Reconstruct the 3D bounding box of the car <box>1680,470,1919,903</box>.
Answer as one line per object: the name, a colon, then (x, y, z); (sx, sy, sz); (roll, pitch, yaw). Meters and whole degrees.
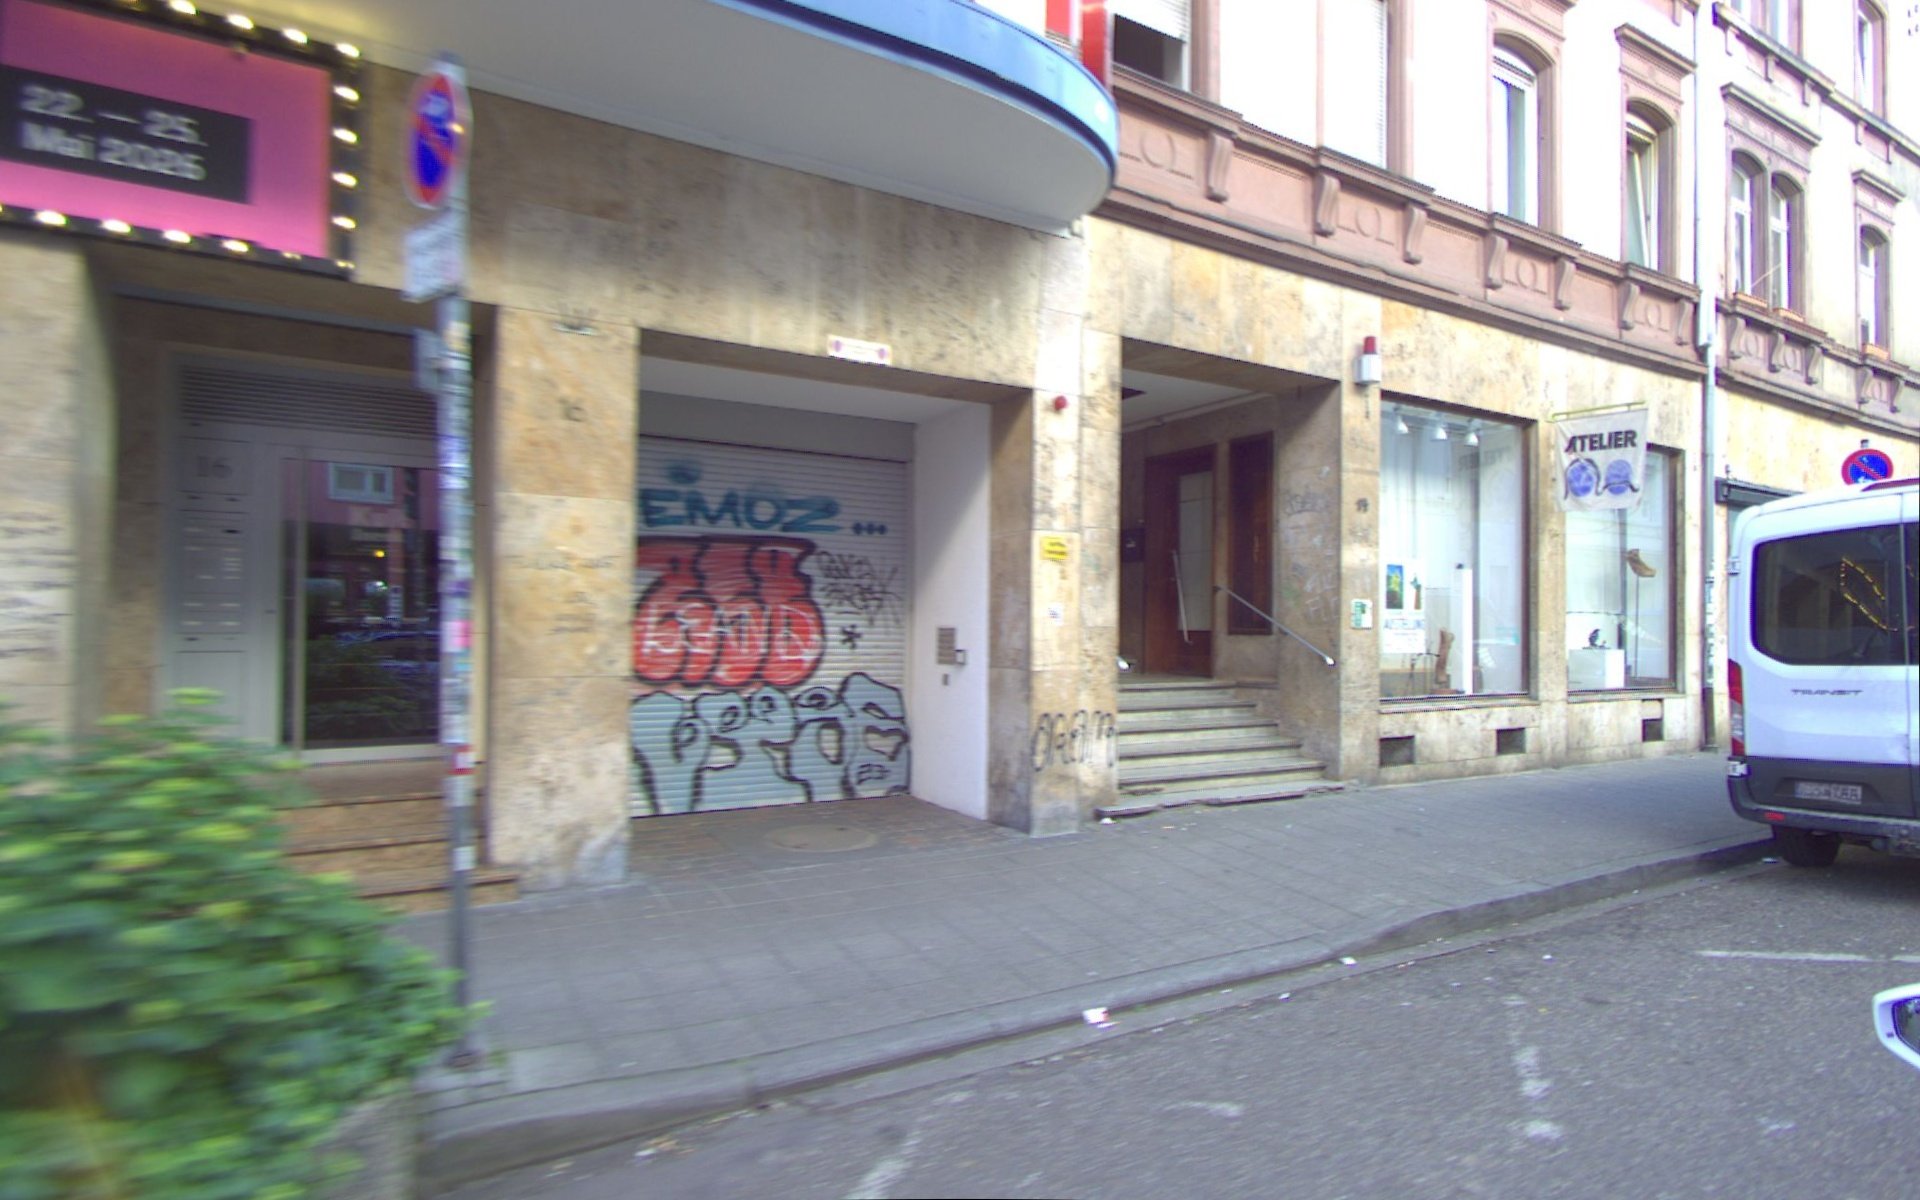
car: (7.941, 0.563, 7.410); (5.856, 2.484, 2.157); (1, -4, -32)
